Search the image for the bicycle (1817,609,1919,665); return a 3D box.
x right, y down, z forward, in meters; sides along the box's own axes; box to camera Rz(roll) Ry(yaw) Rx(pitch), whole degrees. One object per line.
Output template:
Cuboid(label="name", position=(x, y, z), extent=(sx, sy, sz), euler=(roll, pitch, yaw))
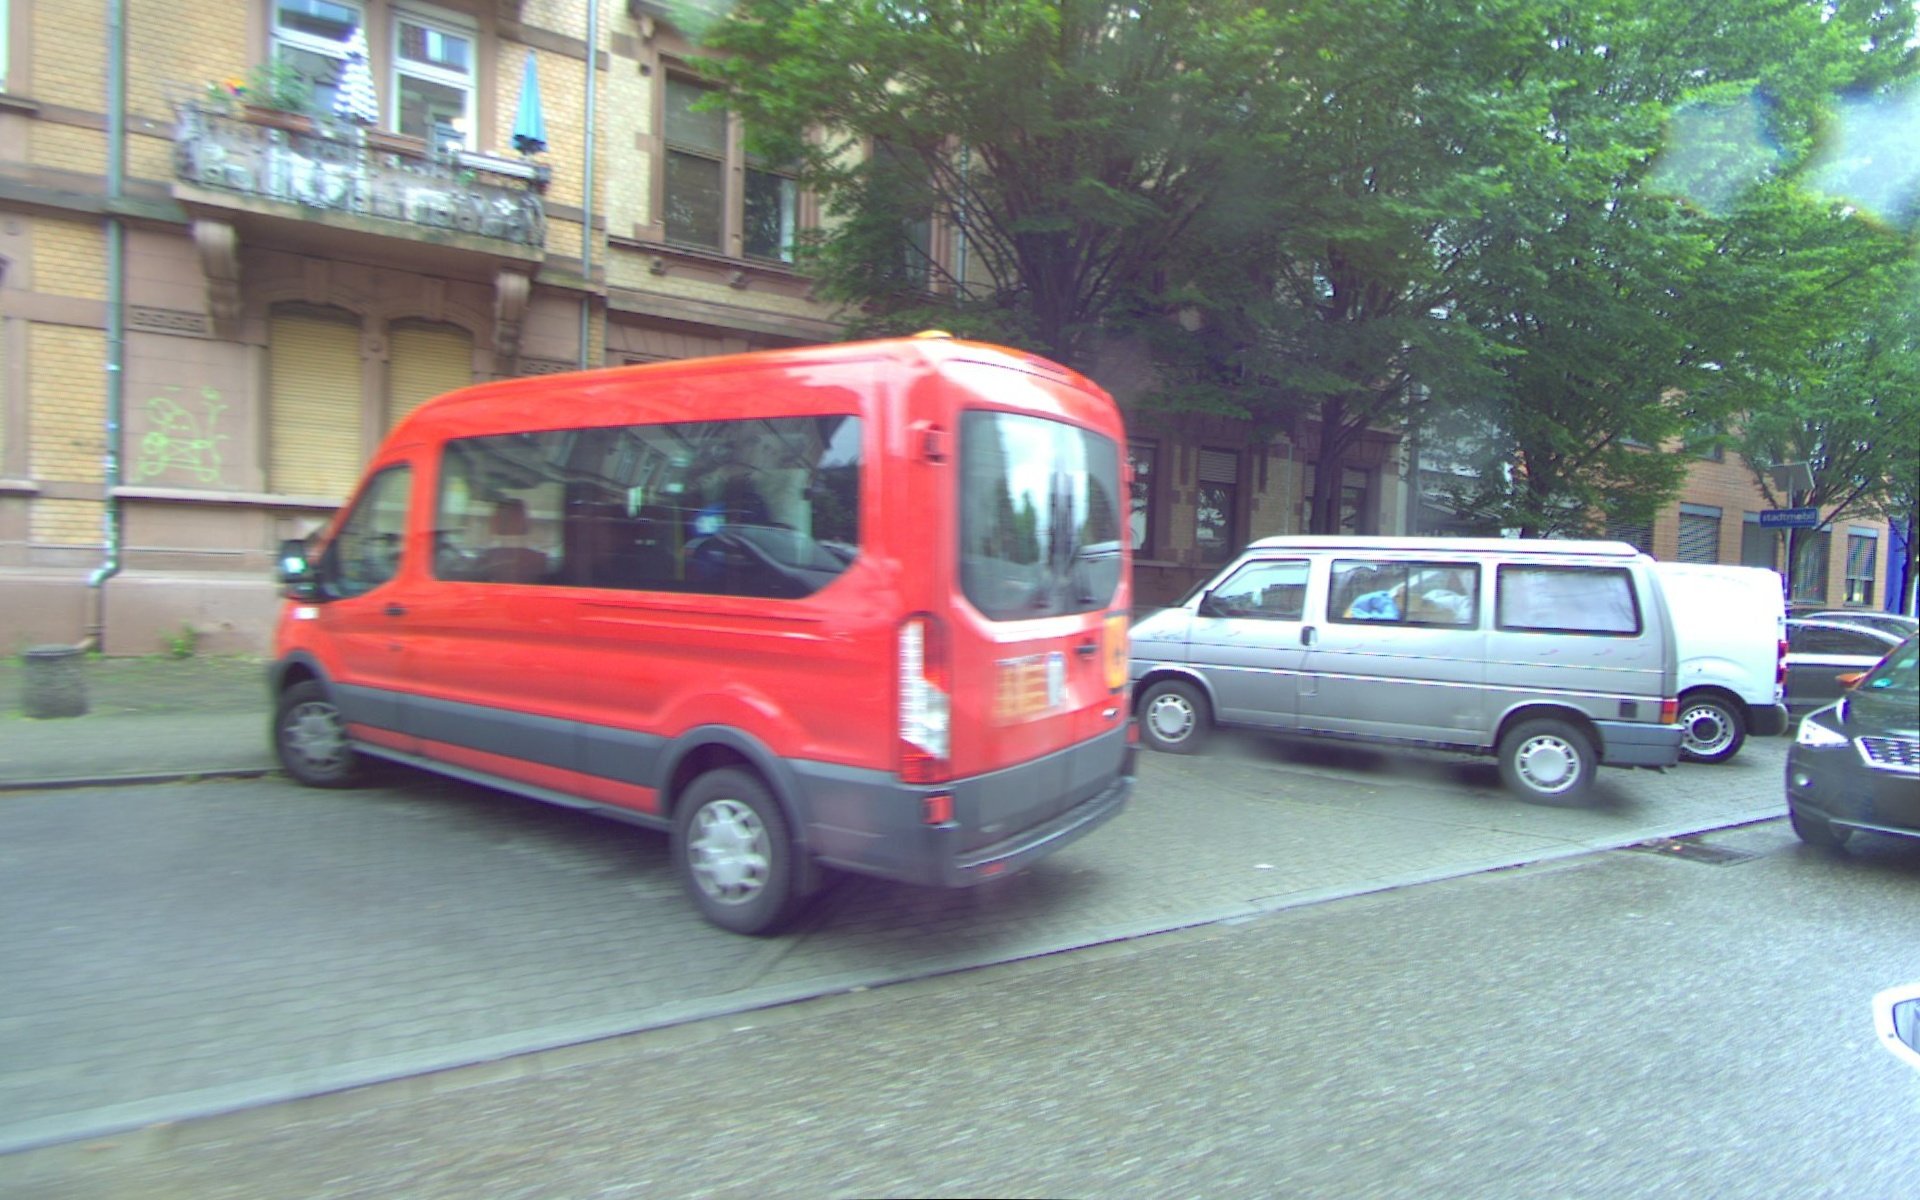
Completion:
Cuboid(label="bicycle", position=(23.504, 0.935, 25.962), extent=(0.547, 1.168, 1.885), euler=(1, 6, -32))

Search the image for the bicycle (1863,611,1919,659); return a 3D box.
Cuboid(label="bicycle", position=(25.974, 0.994, 27.363), extent=(0.547, 1.168, 1.885), euler=(1, 6, -32))

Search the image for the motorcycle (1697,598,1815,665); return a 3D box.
Cuboid(label="motorcycle", position=(18.016, 0.694, 22.786), extent=(0.648, 1.242, 1.875), euler=(1, 6, -26))

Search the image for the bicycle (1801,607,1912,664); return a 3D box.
Cuboid(label="bicycle", position=(22.413, 0.867, 25.151), extent=(0.547, 1.168, 1.885), euler=(1, 6, -32))

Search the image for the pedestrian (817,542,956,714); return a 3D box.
Cuboid(label="pedestrian", position=(-0.763, 0.257, 10.349), extent=(1.079, 1.652, 0.895), euler=(1, 3, -35))

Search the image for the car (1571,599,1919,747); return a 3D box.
Cuboid(label="car", position=(10.205, 0.855, 12.676), extent=(3.901, 1.466, 1.767), euler=(4, 3, 20))

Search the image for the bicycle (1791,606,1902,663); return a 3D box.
Cuboid(label="bicycle", position=(21.984, 0.840, 24.962), extent=(0.547, 1.168, 1.885), euler=(1, 6, -32))

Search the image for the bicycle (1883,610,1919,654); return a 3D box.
Cuboid(label="bicycle", position=(27.393, 0.975, 28.273), extent=(0.547, 1.168, 1.885), euler=(1, 6, -32))

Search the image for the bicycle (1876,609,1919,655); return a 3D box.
Cuboid(label="bicycle", position=(26.811, 0.939, 27.873), extent=(0.547, 1.168, 1.885), euler=(1, 6, -32))

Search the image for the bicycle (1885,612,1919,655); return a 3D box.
Cuboid(label="bicycle", position=(28.537, 1.047, 29.468), extent=(0.547, 1.168, 1.885), euler=(1, 6, -32))

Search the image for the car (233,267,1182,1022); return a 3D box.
Cuboid(label="car", position=(-1.763, 0.040, 5.860), extent=(5.478, 2.575, 2.223), euler=(3, 2, 33))

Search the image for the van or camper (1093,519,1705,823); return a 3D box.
Cuboid(label="van or camper", position=(3.591, 0.415, 8.818), extent=(4.366, 2.002, 1.779), euler=(4, 3, 28))

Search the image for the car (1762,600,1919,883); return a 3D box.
Cuboid(label="car", position=(7.157, 0.855, 6.657), extent=(3.960, 1.580, 1.660), euler=(1, 1, -33))

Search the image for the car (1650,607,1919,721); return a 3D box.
Cuboid(label="car", position=(12.245, 0.872, 14.481), extent=(3.411, 1.455, 1.651), euler=(1, 0, 18))

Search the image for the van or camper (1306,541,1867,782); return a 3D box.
Cuboid(label="van or camper", position=(6.224, 0.469, 10.839), extent=(4.605, 1.979, 2.337), euler=(4, 3, 19))

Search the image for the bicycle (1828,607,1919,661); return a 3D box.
Cuboid(label="bicycle", position=(24.052, 0.873, 26.249), extent=(0.547, 1.168, 1.885), euler=(1, 6, -32))

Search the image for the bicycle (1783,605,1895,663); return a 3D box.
Cuboid(label="bicycle", position=(21.530, 0.811, 24.646), extent=(0.547, 1.168, 1.885), euler=(1, 6, -32))
